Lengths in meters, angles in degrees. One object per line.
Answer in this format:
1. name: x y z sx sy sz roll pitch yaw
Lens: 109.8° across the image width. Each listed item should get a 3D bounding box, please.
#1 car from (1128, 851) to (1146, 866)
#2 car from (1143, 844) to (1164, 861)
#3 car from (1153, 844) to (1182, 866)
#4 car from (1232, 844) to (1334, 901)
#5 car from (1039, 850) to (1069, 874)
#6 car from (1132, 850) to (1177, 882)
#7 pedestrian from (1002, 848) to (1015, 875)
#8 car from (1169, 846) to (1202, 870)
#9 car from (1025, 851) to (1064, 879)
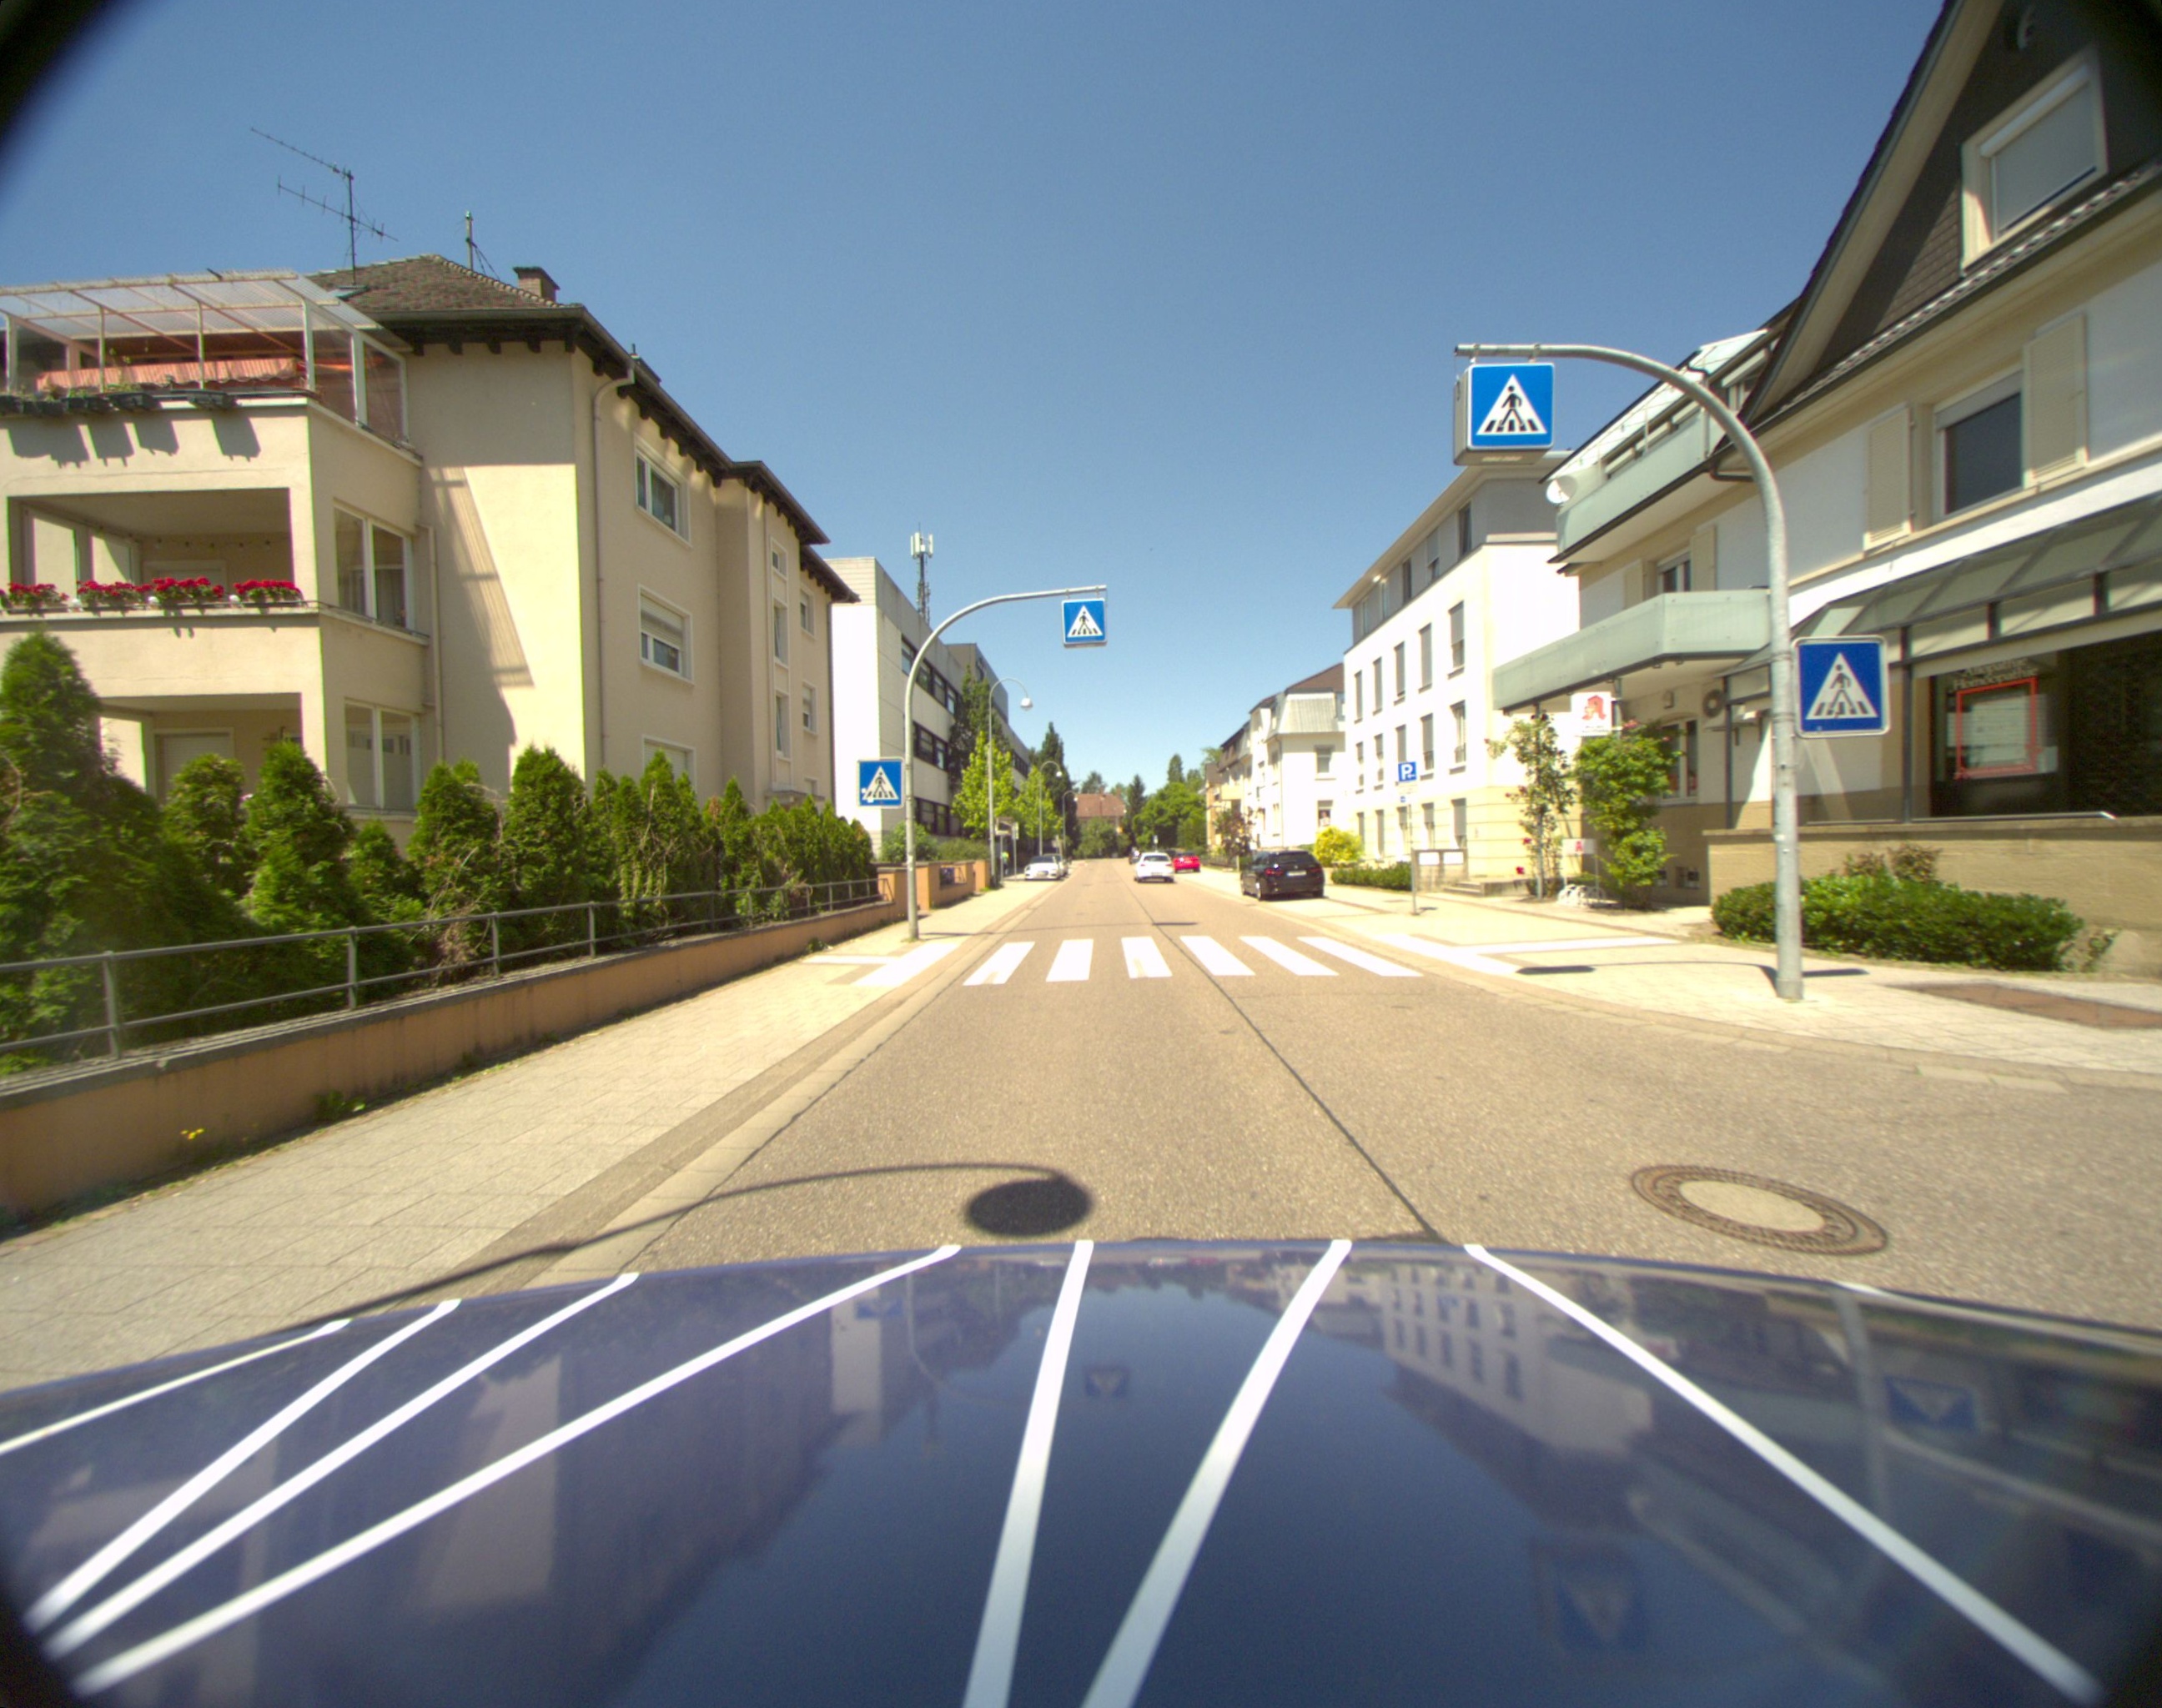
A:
1. car: 6.619 0.513 90.030 1.925 1.668 4.287 -1 1 2
2. car: 7.826 -0.202 82.487 1.925 1.681 4.287 -4 1 3
3. car: 7.064 0.044 62.594 1.925 1.577 4.435 -4 1 2
4. car: 6.140 0.490 23.783 1.921 1.444 5.149 -4 1 2
5. car: -1.712 0.497 49.270 1.714 1.490 3.877 -1 1 2
6. car: 3.564 0.553 37.415 1.812 1.474 3.868 0 1 0
7. pedestrian: -4.536 0.479 47.881 0.680 1.690 1.050 0 1 2
8. car: 6.994 0.225 51.297 1.737 1.444 4.260 -4 1 2
9. car: -2.041 0.590 44.070 1.920 1.460 4.880 -1 1 1
